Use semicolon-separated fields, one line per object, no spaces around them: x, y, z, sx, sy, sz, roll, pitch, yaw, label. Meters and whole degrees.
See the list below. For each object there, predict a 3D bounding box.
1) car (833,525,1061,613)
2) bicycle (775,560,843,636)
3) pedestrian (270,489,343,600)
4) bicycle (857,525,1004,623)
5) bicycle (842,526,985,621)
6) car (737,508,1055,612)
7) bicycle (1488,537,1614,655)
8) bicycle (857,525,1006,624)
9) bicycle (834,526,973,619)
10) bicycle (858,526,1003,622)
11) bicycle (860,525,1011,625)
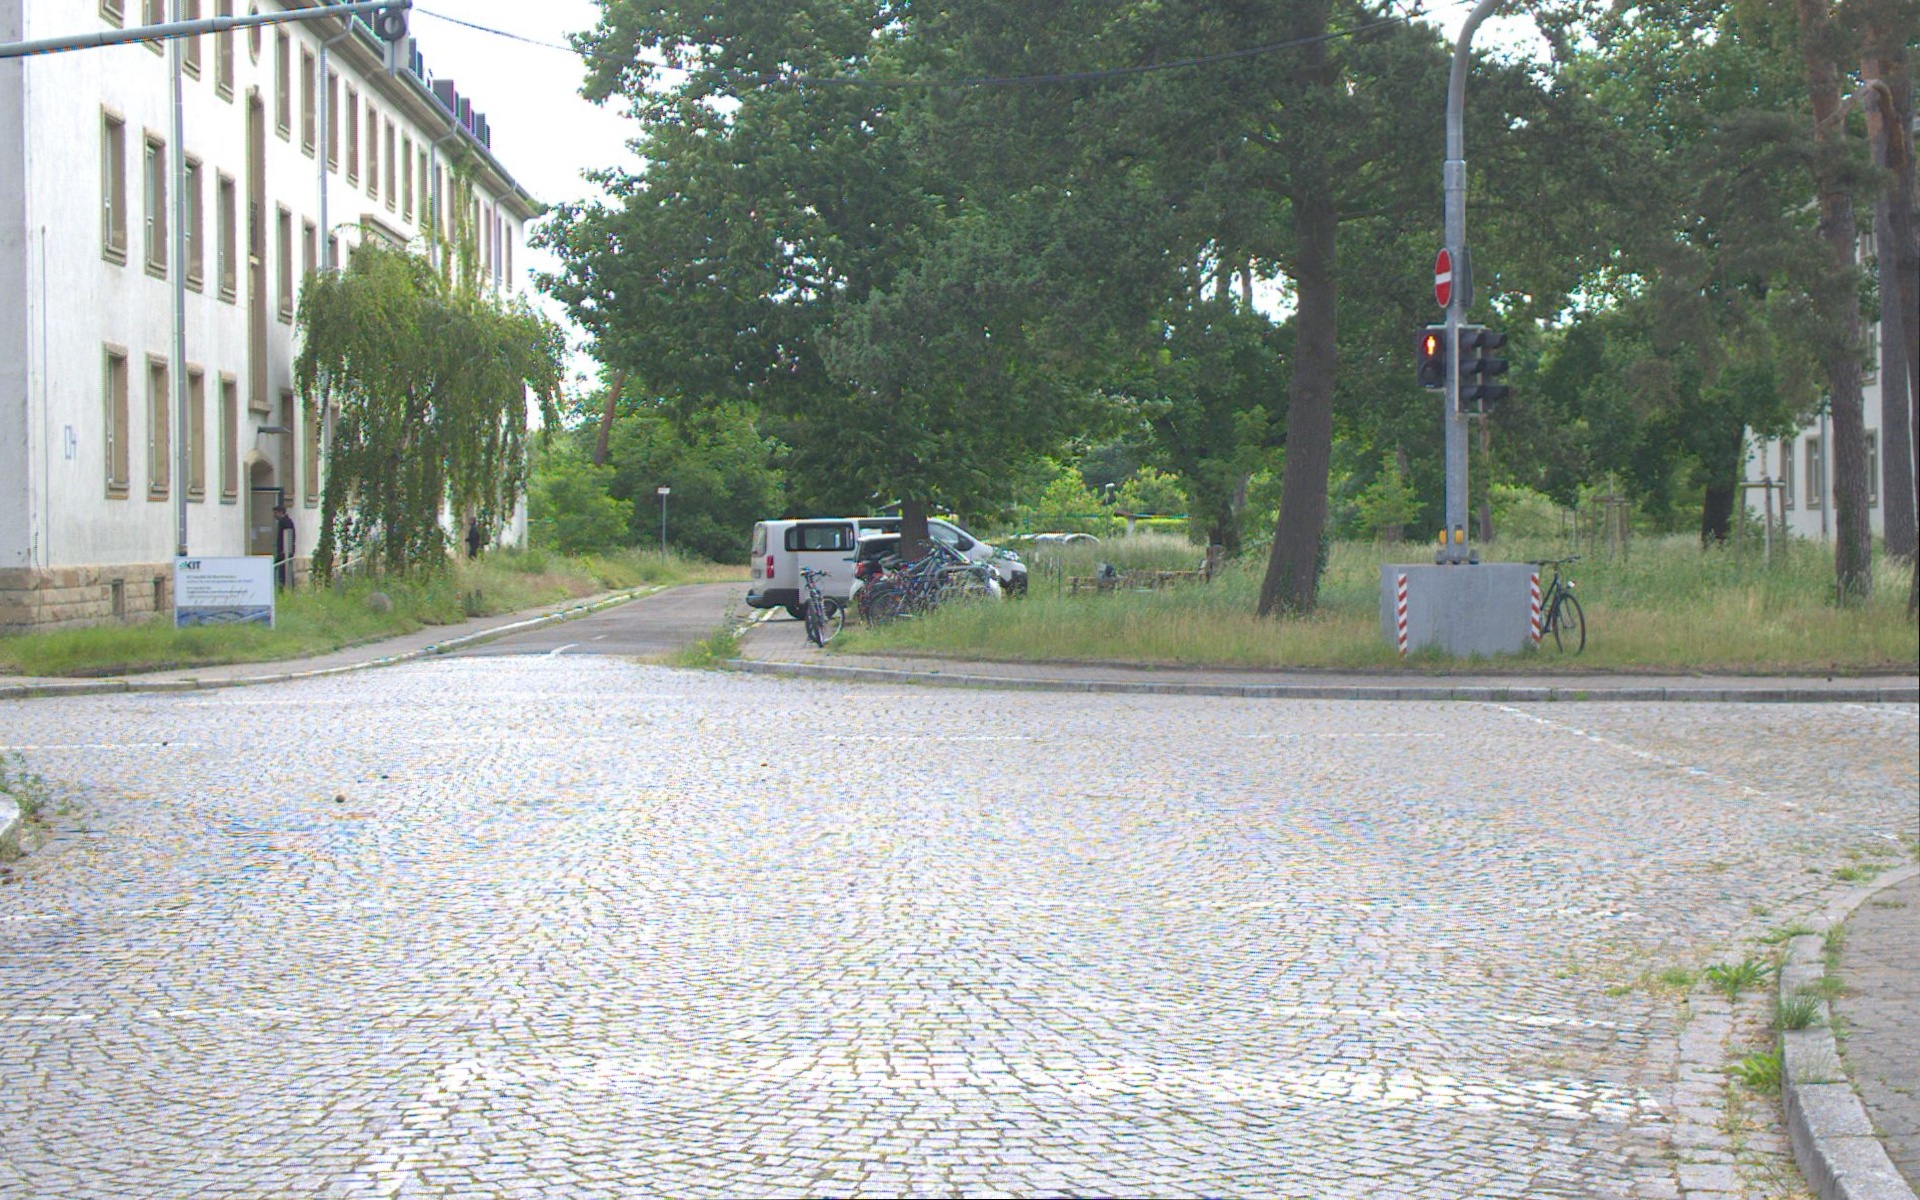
-0.260;-0.568;61.950;3.931;1.539;2.000;0;1;-6;car
-1.994;-0.036;45.615;0.618;0.960;2.076;0;1;6;bicycle
-11.929;-1.020;62.777;1.087;2.007;1.021;0;1;4;pedestrian
-0.420;-0.368;48.722;2.070;1.373;0.620;0;1;0;bicycle
-0.677;-0.397;50.314;2.070;1.373;0.620;0;1;0;bicycle
-1.235;-0.779;65.306;5.690;1.904;2.231;-1;1;-13;car
6.039;-0.061;35.236;0.908;1.173;1.874;0;1;-2;bicycle
-0.401;-0.360;48.097;2.070;1.373;0.620;0;1;0;bicycle
-0.850;-0.419;51.798;2.070;1.373;0.620;0;1;0;bicycle
-0.431;-0.378;49.519;2.070;1.373;0.620;0;1;0;bicycle
-0.341;-0.349;47.428;2.070;1.373;0.620;0;1;0;bicycle
